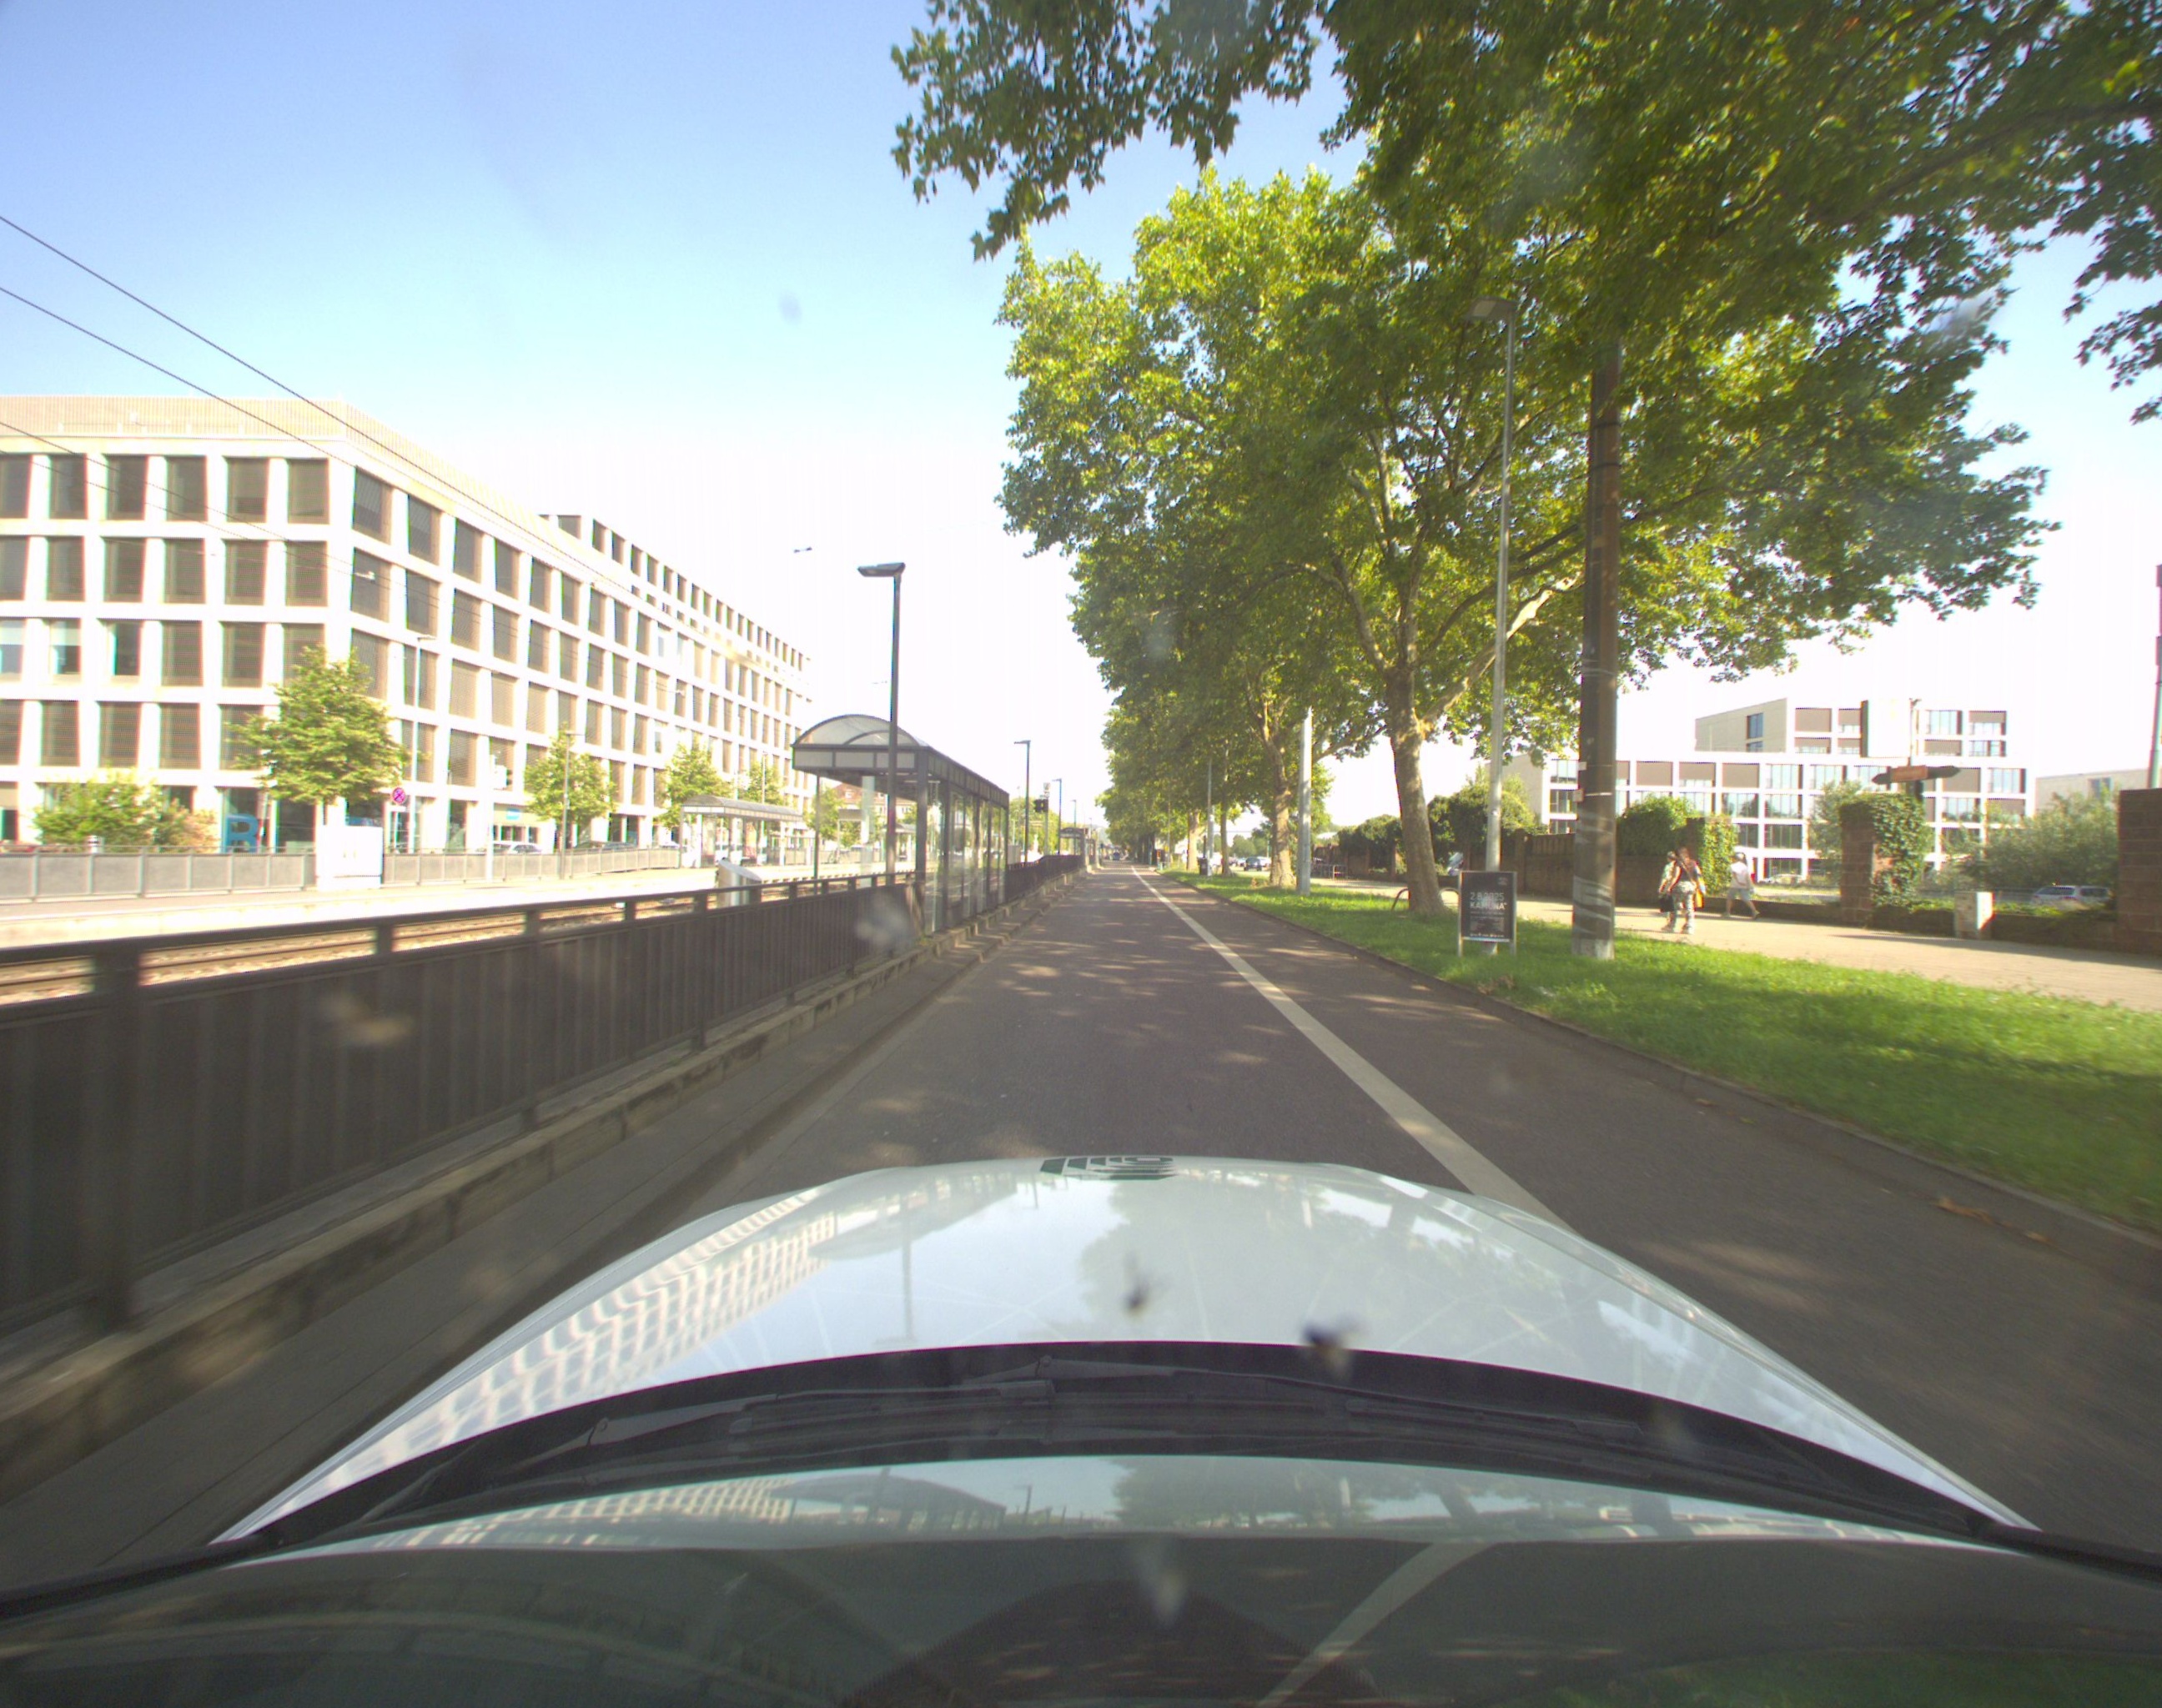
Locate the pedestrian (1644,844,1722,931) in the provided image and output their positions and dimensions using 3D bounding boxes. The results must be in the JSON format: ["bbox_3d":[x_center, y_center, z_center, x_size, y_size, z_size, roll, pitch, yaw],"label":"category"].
[{"bbox_3d":[11.617,0.627,15.744,0.803,1.636,0.948,-1,0,2],"label":"pedestrian"}]

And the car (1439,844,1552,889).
[{"bbox_3d":[22.741,0.666,44.862,5.106,2.368,2.134,1,0,5],"label":"car"}]

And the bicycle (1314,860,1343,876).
[{"bbox_3d":[15.597,0.874,51.352,1.647,0.969,0.507,-1,0,7],"label":"bicycle"}]

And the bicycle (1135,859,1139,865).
[{"bbox_3d":[10.334,1.471,149.625,0.712,1.107,2.510,2,0,3],"label":"bicycle"}]

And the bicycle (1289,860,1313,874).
[{"bbox_3d":[15.627,0.896,57.824,0.508,0.969,1.642,-1,0,-39],"label":"bicycle"}]

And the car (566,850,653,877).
[{"bbox_3d":[-22.895,0.436,39.736,1.636,1.253,4.225,1,0,2],"label":"car"}]

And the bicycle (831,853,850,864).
[{"bbox_3d":[-14.929,0.269,50.560,0.474,0.662,1.616,1,0,7],"label":"bicycle"}]

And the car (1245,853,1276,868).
[{"bbox_3d":[20.865,0.761,94.480,1.705,1.679,4.275,1,0,39],"label":"car"}]

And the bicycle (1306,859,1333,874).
[{"bbox_3d":[15.886,0.864,54.344,1.647,0.969,0.507,-1,0,7],"label":"bicycle"}]

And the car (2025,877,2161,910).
[{"bbox_3d":[44.445,1.722,35.387,4.449,1.294,1.850,1,0,5],"label":"car"}]

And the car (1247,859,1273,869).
[{"bbox_3d":[27.316,1.502,124.126,3.752,1.446,1.530,2,0,9],"label":"car"}]

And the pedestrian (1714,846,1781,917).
[{"bbox_3d":[15.587,0.630,19.078,0.803,1.604,0.948,-1,0,2],"label":"pedestrian"}]

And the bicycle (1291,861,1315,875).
[{"bbox_3d":[15.545,0.958,56.965,0.508,0.969,1.642,-1,0,-39],"label":"bicycle"}]

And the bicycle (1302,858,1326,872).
[{"bbox_3d":[16.815,0.764,58.808,1.648,0.969,0.507,-1,0,4],"label":"bicycle"}]

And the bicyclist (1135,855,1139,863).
[{"bbox_3d":[10.359,0.950,149.690,0.703,1.461,1.010,2,-1,3],"label":"bicyclist"}]

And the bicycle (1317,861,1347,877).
[{"bbox_3d":[15.571,0.904,50.531,1.649,0.969,0.506,-1,0,3],"label":"bicycle"}]

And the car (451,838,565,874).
[{"bbox_3d":[-23.980,0.071,34.289,1.636,1.377,4.225,1,0,2],"label":"car"}]

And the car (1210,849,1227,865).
[{"bbox_3d":[18.262,0.352,108.378,1.715,2.048,4.465,1,0,3],"label":"car"}]

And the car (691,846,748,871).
[{"bbox_3d":[-23.033,0.266,52.080,1.636,1.550,4.225,1,0,2],"label":"car"}]

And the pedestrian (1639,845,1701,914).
[{"bbox_3d":[14.129,0.599,19.562,0.803,1.604,0.948,-1,0,2],"label":"pedestrian"}]

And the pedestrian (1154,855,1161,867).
[{"bbox_3d":[10.511,0.912,111.822,0.619,1.617,0.850,1,0,40],"label":"pedestrian"}]

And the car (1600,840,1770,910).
[{"bbox_3d":[22.121,0.751,29.976,4.644,2.318,2.057,2,-1,2],"label":"car"}]
